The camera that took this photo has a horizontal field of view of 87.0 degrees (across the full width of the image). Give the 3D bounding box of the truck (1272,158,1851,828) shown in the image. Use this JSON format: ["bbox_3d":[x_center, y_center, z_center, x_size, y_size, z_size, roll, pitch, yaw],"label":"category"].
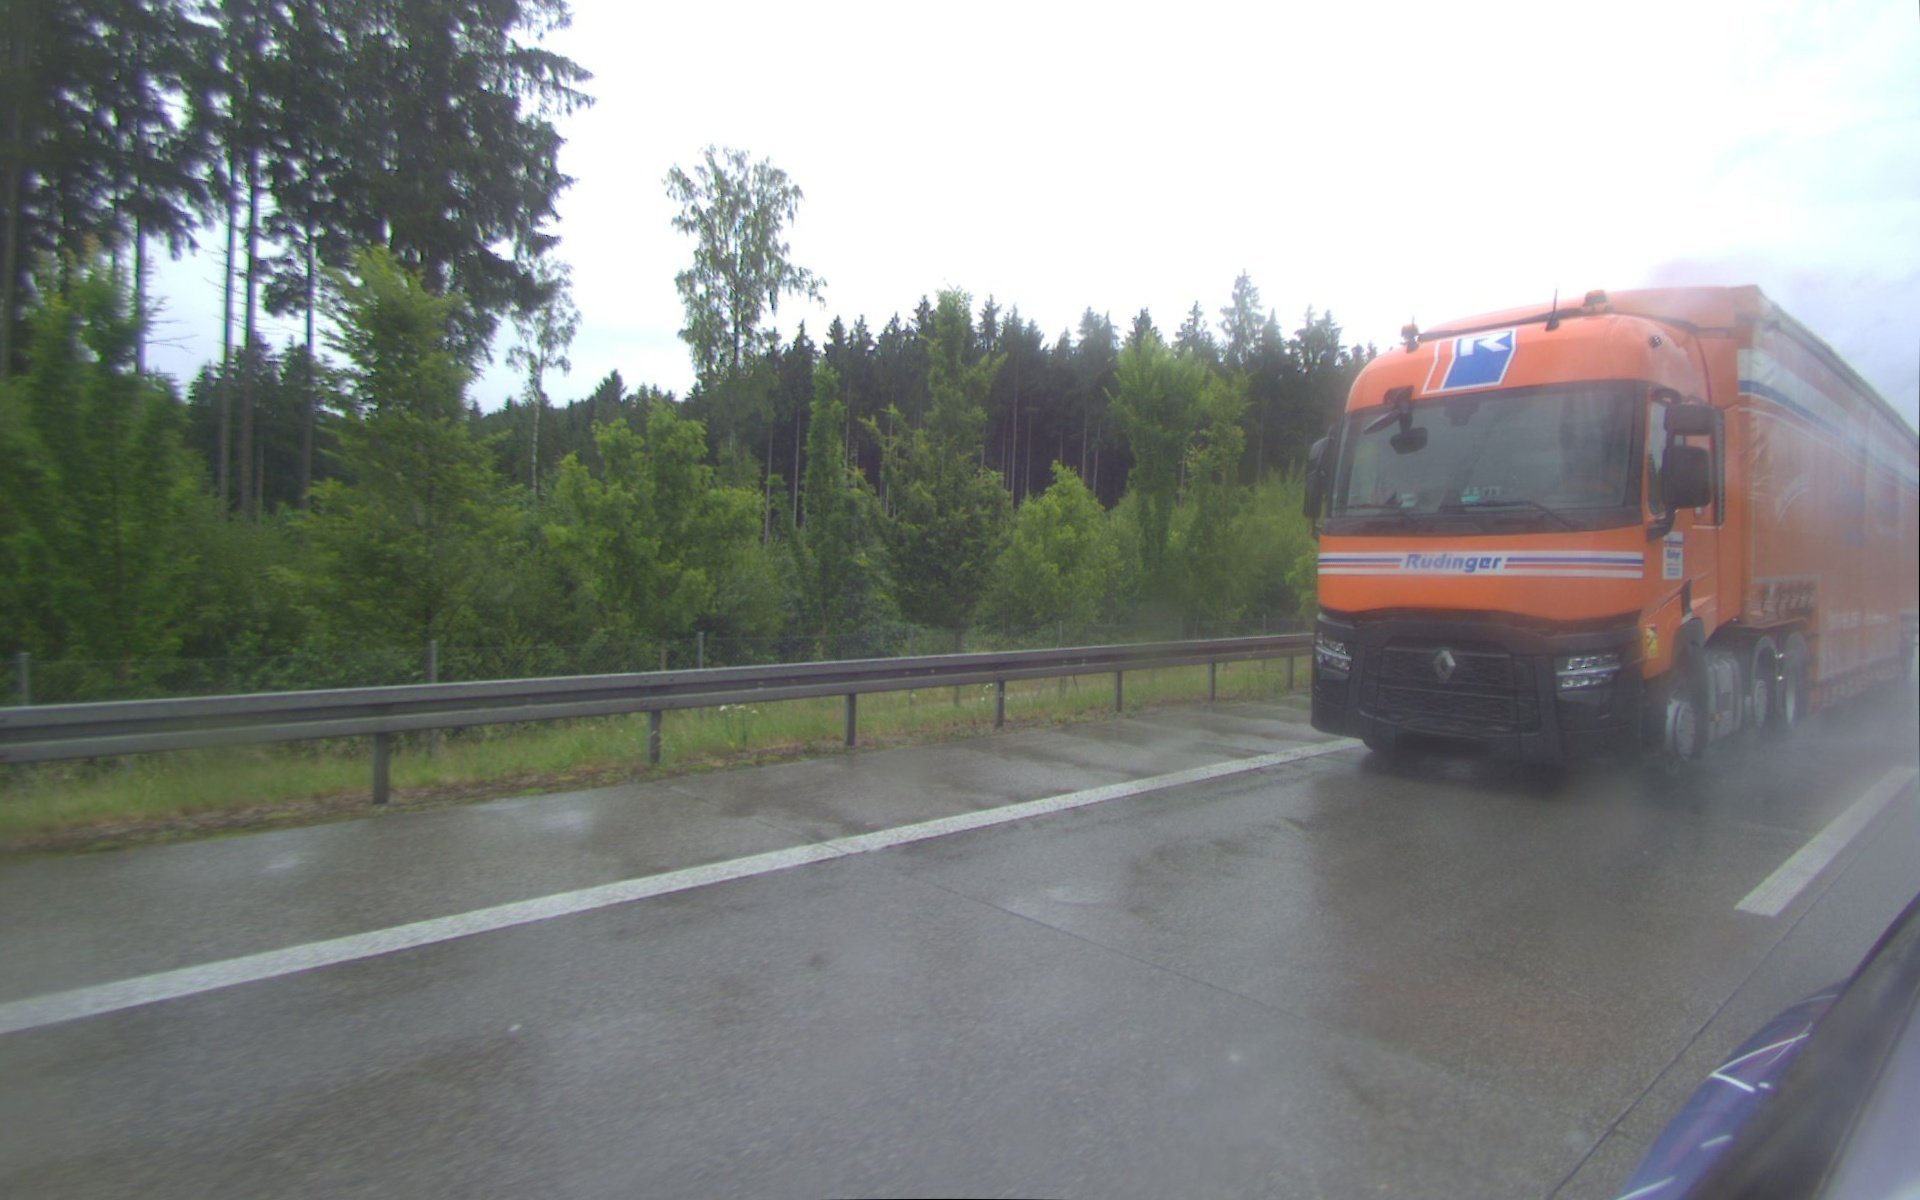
[{"bbox_3d":[5.574,-0.732,9.074,5.342,4.137,2.765,0,3,-41],"label":"truck"}]

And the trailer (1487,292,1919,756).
[{"bbox_3d":[11.716,-0.786,14.461,12.778,4.207,2.801,0,3,-41],"label":"trailer"}]
